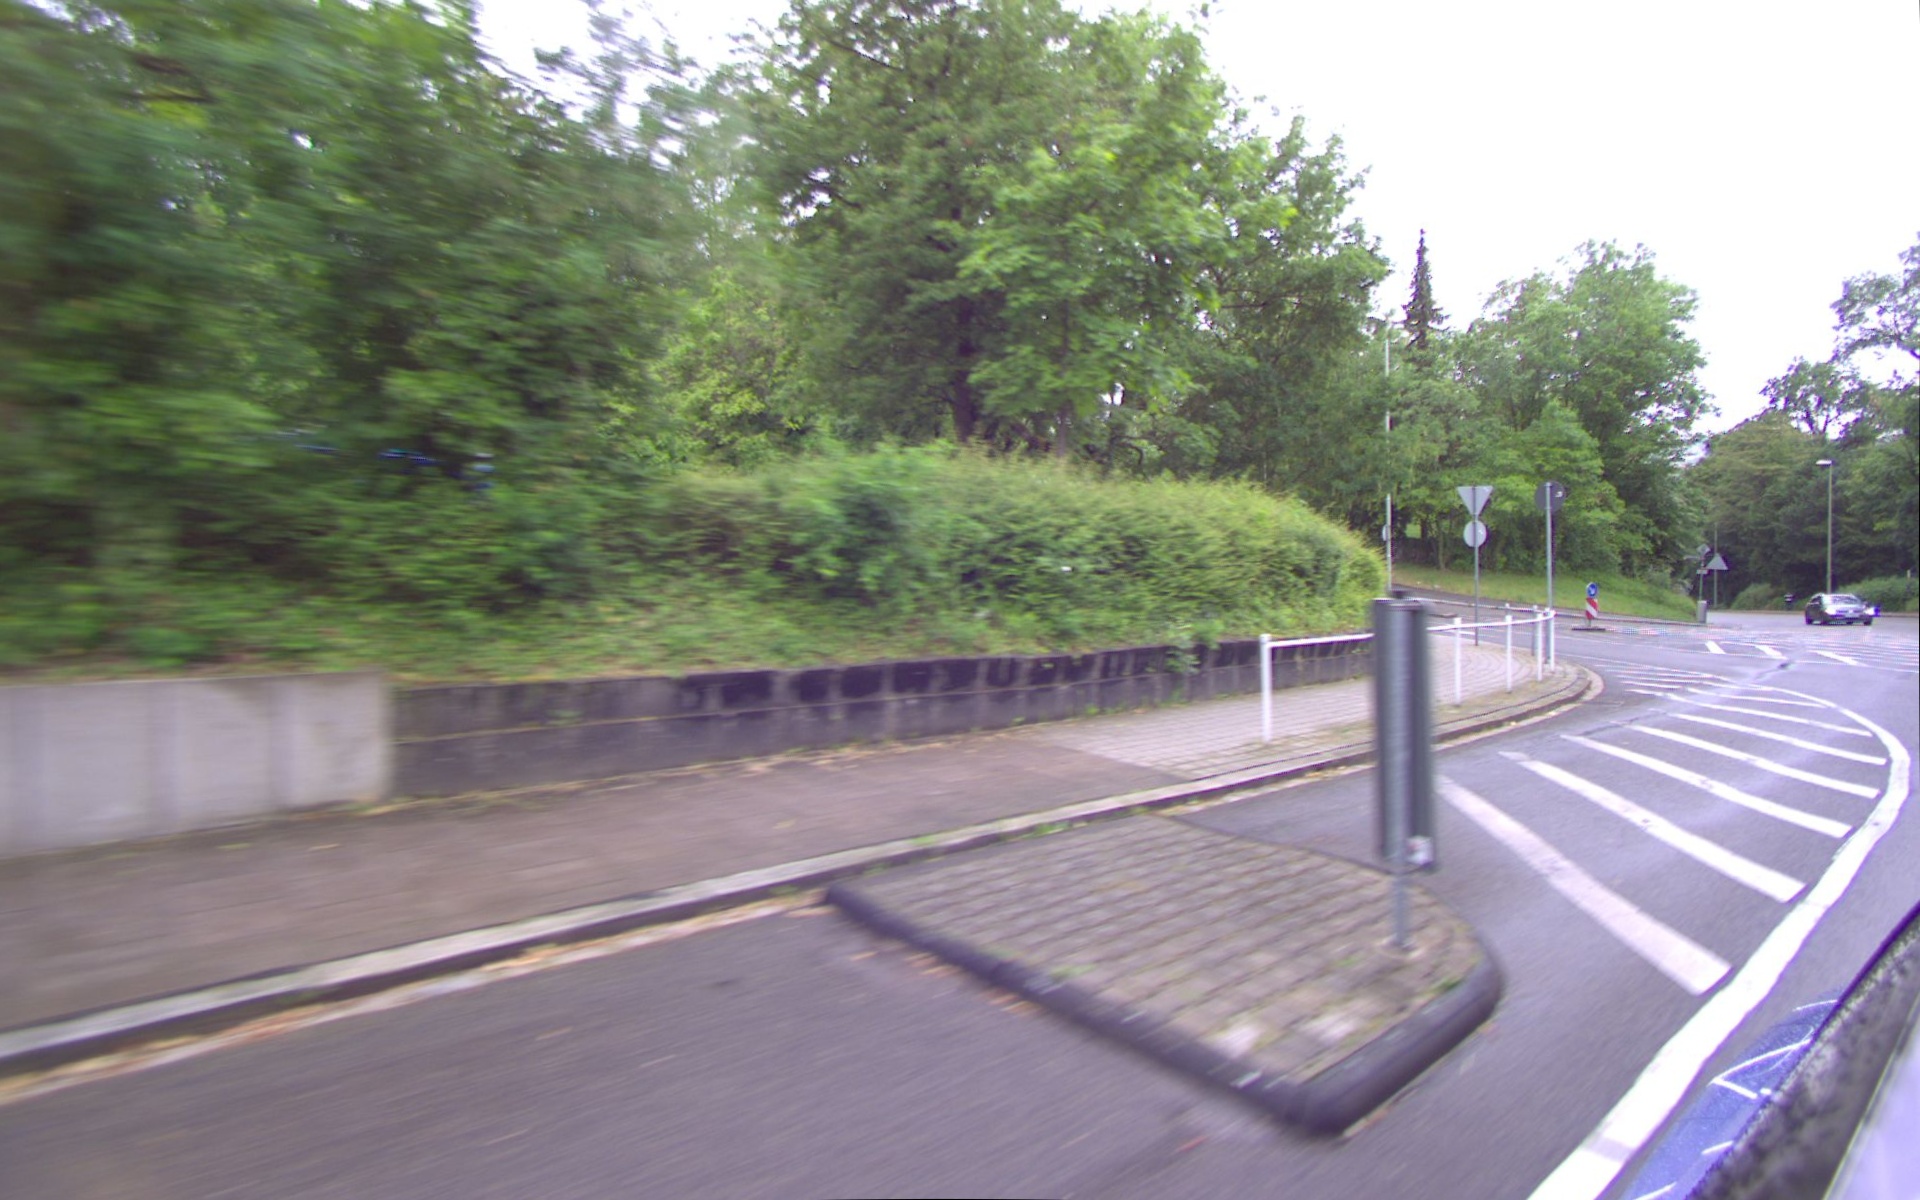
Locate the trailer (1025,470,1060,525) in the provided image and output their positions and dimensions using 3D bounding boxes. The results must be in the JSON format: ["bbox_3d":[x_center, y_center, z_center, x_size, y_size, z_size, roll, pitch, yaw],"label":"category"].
[{"bbox_3d":[5.919,-7.543,73.389,2.237,3.334,8.043,1,10,3],"label":"trailer"}]

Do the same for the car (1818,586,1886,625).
[{"bbox_3d":[41.057,0.222,46.664,2.026,1.722,3.946,0,1,37],"label":"car"}]
